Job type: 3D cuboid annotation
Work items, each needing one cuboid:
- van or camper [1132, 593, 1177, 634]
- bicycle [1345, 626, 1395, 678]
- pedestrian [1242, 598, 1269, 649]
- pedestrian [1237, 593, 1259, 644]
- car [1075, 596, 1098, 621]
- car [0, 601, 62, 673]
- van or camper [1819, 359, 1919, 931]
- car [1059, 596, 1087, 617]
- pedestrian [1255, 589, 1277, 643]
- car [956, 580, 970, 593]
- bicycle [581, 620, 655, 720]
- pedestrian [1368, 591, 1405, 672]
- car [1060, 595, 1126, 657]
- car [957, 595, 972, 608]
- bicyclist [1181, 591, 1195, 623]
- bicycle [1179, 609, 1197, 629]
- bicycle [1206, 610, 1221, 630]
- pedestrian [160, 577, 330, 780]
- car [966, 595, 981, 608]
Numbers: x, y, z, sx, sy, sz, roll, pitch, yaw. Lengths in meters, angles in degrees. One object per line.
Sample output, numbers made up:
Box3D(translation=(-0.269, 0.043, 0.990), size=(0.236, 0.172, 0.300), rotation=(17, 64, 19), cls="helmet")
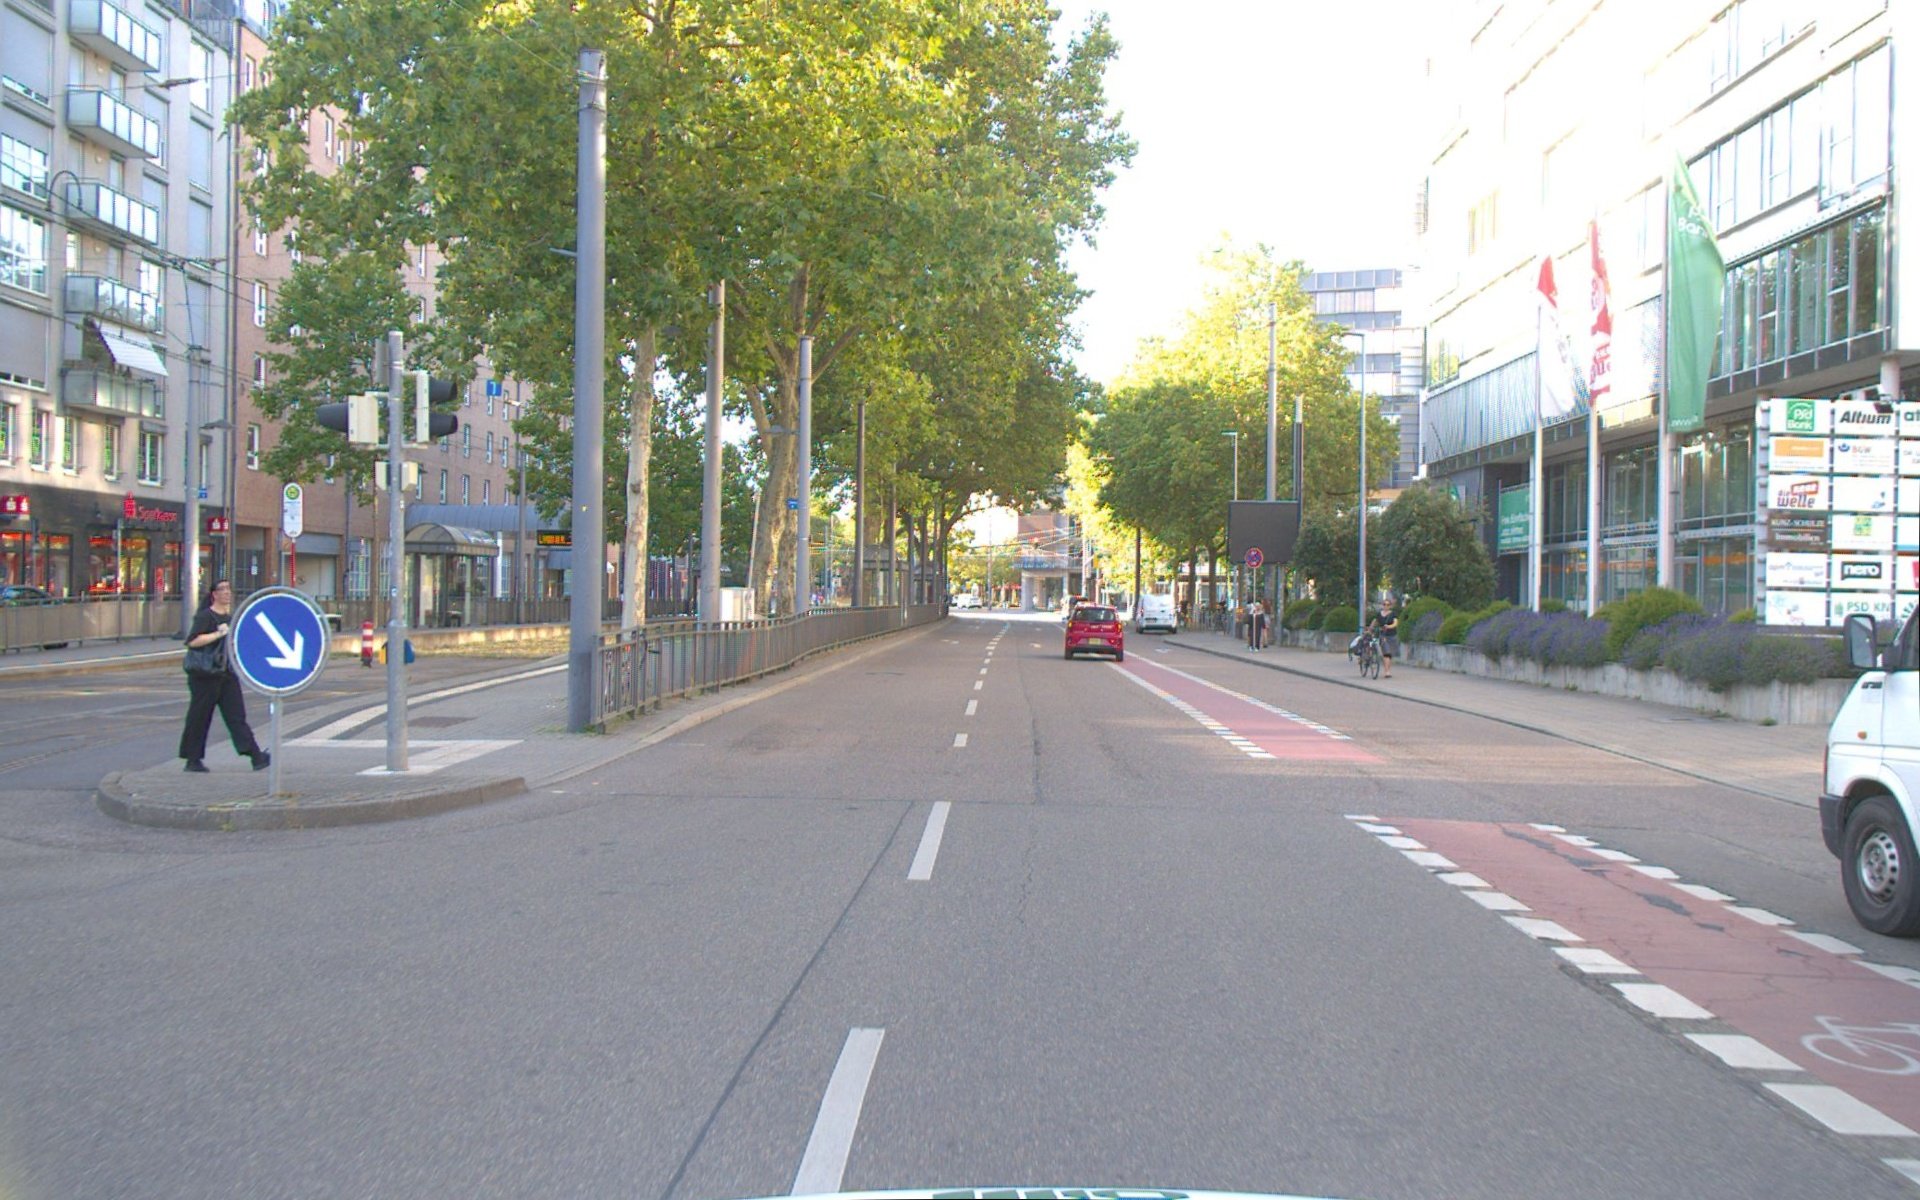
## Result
Box3D(translation=(10.100, 0.673, 85.997), size=(1.952, 2.024, 4.746), rotation=(1, 0, 3), cls="van or camper")
Box3D(translation=(8.749, 1.090, 35.340), size=(0.510, 0.992, 2.202), rotation=(-3, 1, 1), cls="bicycle")
Box3D(translation=(9.587, 0.764, 53.712), size=(0.629, 1.607, 0.722), rotation=(-3, 0, -6), cls="pedestrian")
Box3D(translation=(9.977, 0.620, 57.325), size=(0.552, 1.732, 0.907), rotation=(-2, 0, -1), cls="pedestrian")
Box3D(translation=(9.409, 0.601, 122.955), size=(1.601, 1.831, 3.331), rotation=(1, 0, 3), cls="car")
Box3D(translation=(-20.129, 0.736, 33.076), size=(1.665, 1.424, 4.652), rotation=(1, 0, 2), cls="car")
Box3D(translation=(5.550, 0.248, 5.731), size=(1.928, 2.763, 6.306), rotation=(2, 0, 1), cls="van or camper")
Box3D(translation=(8.831, 0.519, 129.423), size=(1.742, 1.561, 3.510), rotation=(2, 0, -3), cls="car")
Box3D(translation=(10.607, 0.562, 57.341), size=(0.529, 1.827, 0.907), rotation=(-2, 0, -1), cls="pedestrian")
Box3D(translation=(0.386, -1.849, 223.952), size=(1.742, 1.616, 3.410), rotation=(2, 0, -3), cls="car")
Box3D(translation=(-3.716, 0.746, 18.046), size=(0.387, 0.965, 1.352), rotation=(1, 3, 7), cls="bicycle")
Box3D(translation=(9.126, 0.662, 35.368), size=(0.633, 1.710, 0.651), rotation=(1, 0, 3), cls="pedestrian")
Box3D(translation=(3.602, 0.674, 45.104), size=(1.580, 1.561, 3.412), rotation=(2, 0, 2), cls="car")
Box3D(translation=(0.602, 0.179, 217.930), size=(1.742, 1.561, 3.410), rotation=(2, 0, -3), cls="car")
Box3D(translation=(12.233, 0.375, 88.736), size=(0.636, 1.731, 0.952), rotation=(1, 0, 1), cls="bicyclist")
Box3D(translation=(12.232, 1.015, 88.642), size=(0.669, 1.086, 2.469), rotation=(0, 0, 1), cls="bicycle")
Box3D(translation=(13.998, 1.100, 91.355), size=(0.573, 1.086, 1.900), rotation=(0, 0, 1), cls="bicycle")
Box3D(translation=(-5.719, 0.612, 13.268), size=(1.023, 1.571, 0.695), rotation=(1, 0, 5), cls="pedestrian")
Box3D(translation=(1.718, 0.227, 211.308), size=(1.742, 1.561, 3.410), rotation=(2, 0, -3), cls="car")
